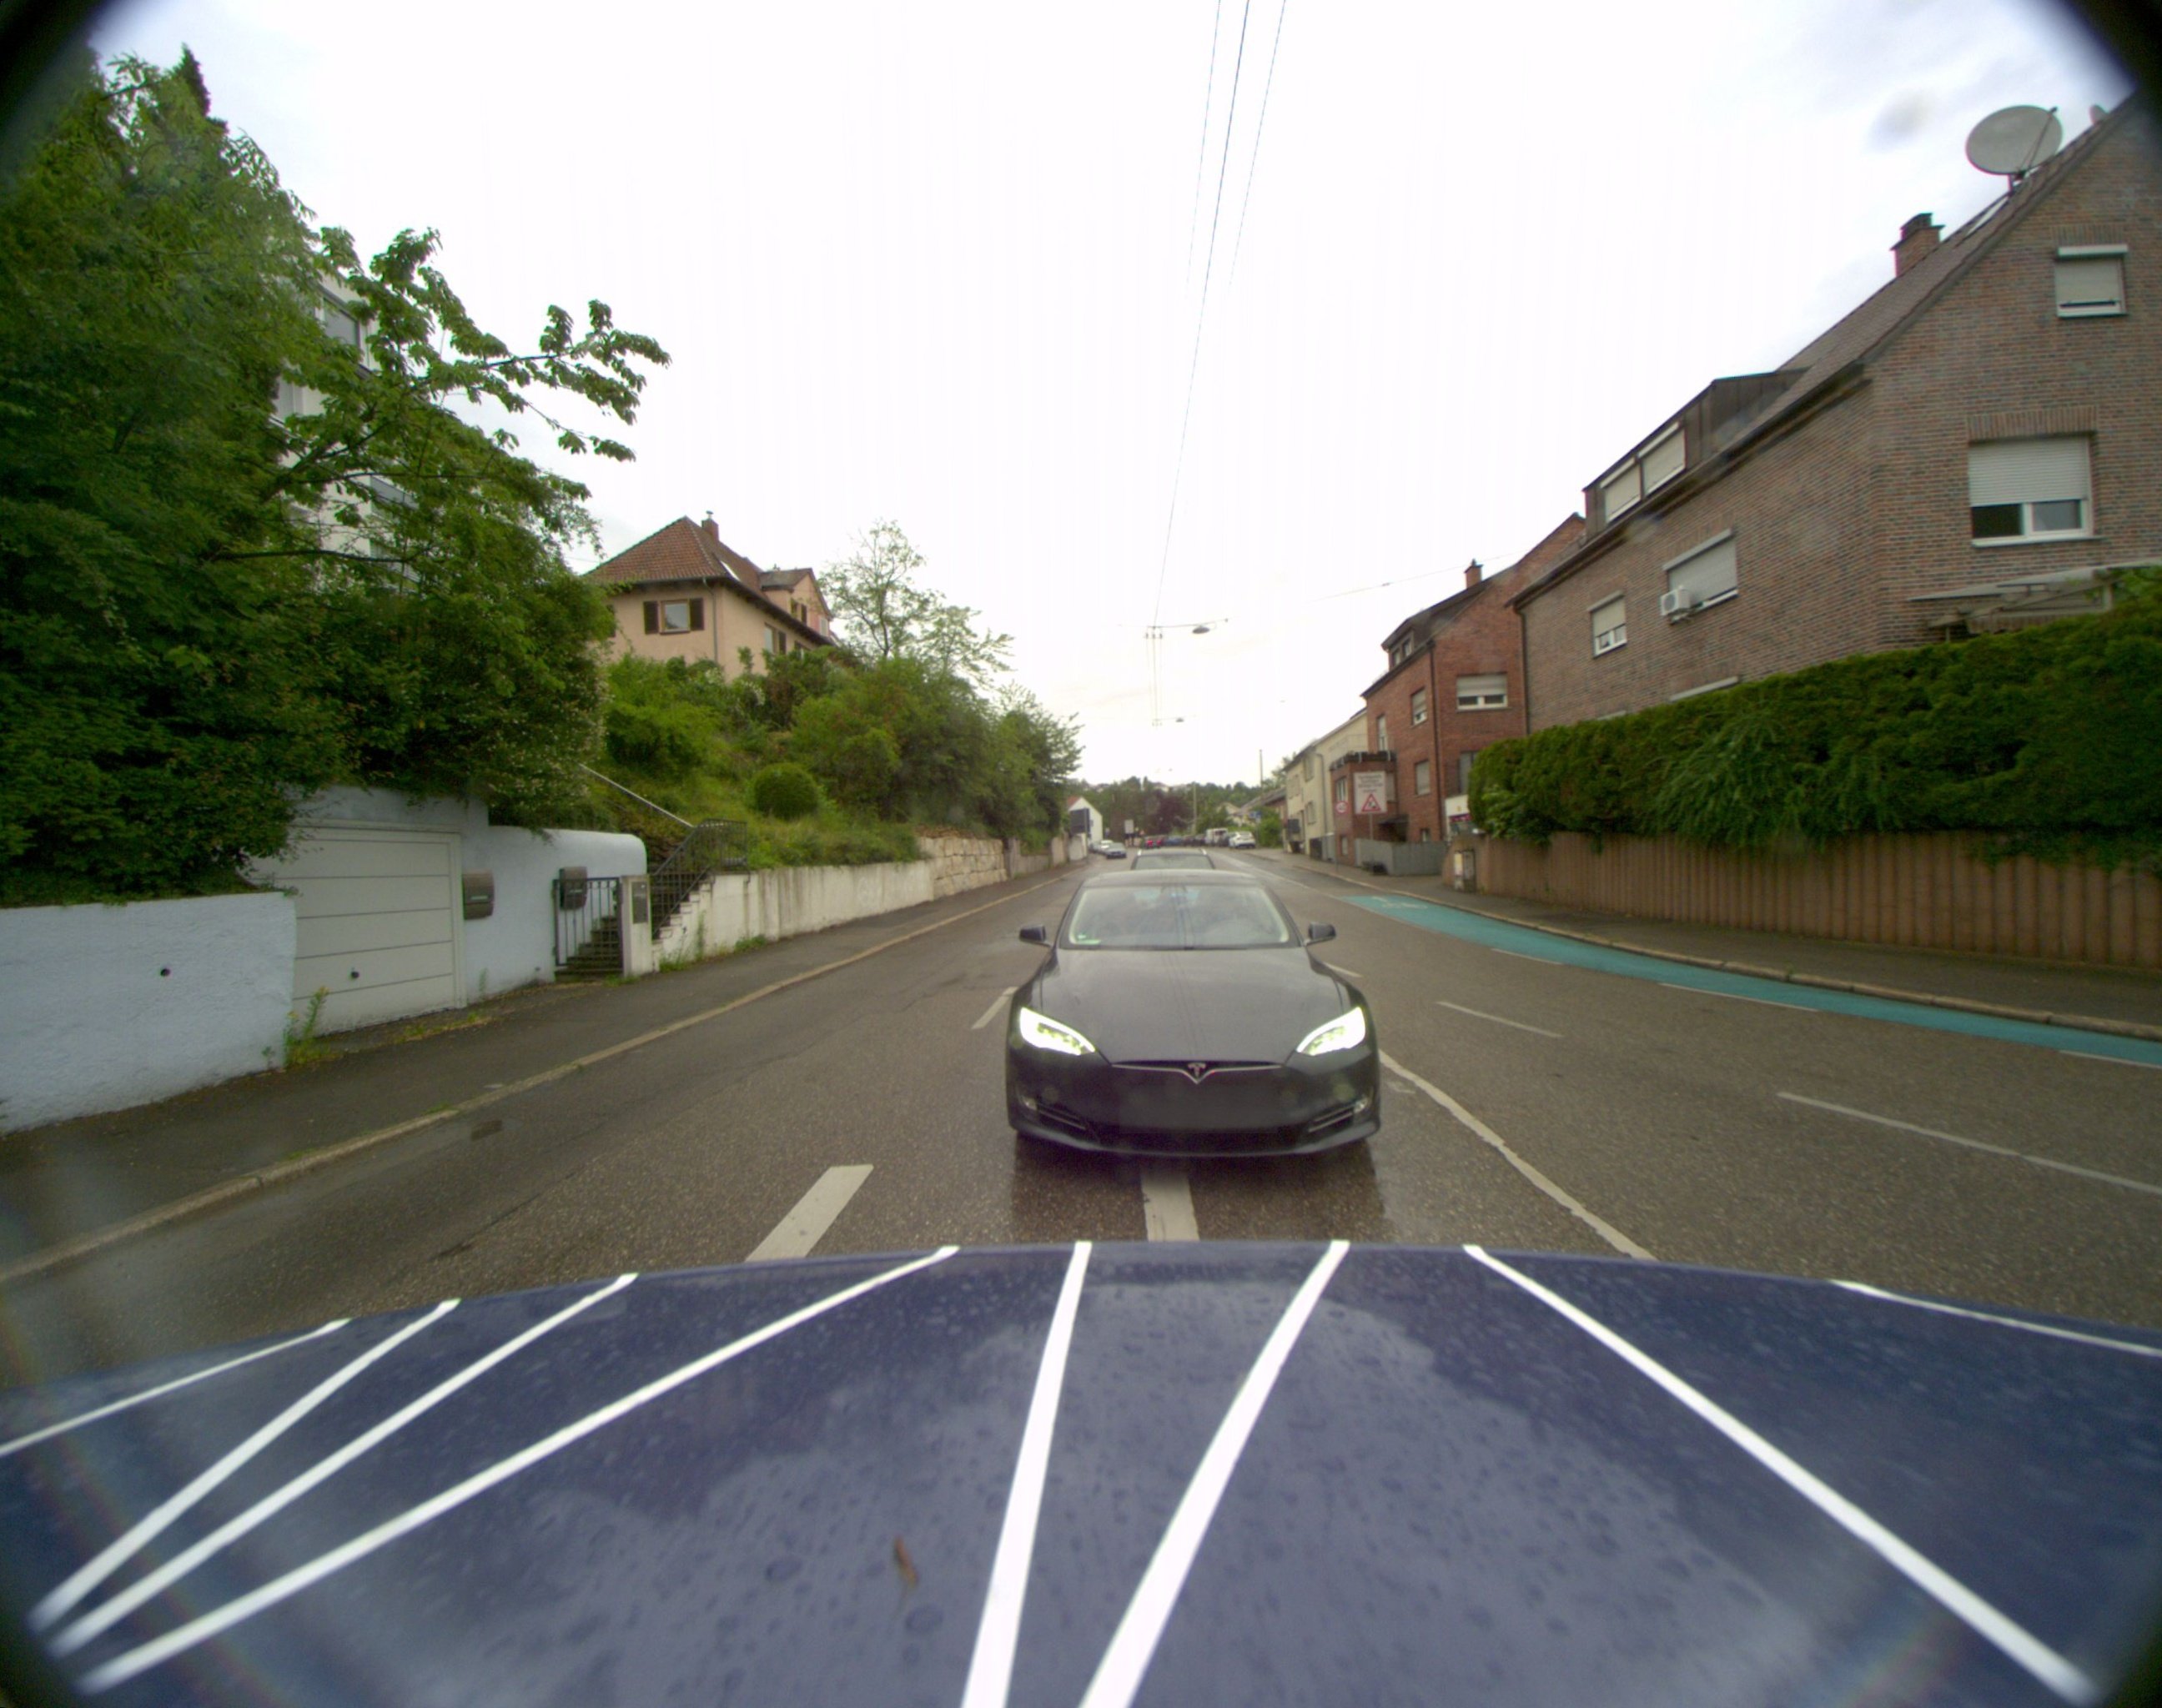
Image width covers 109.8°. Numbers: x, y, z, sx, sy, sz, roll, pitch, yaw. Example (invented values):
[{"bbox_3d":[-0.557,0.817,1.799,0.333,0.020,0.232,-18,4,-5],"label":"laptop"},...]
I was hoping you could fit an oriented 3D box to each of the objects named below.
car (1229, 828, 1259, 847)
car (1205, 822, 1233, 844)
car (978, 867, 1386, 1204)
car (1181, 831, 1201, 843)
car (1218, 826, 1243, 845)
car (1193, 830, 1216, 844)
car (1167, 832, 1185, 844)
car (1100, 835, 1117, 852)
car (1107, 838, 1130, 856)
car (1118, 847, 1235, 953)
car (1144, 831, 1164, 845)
[{"bbox_3d":[15.355,-1.556,71.959,1.946,1.557,4.263,-4,1,2],"label":"car"},{"bbox_3d":[15.612,-2.336,86.137,2.257,2.273,4.546,-4,1,0],"label":"car"},{"bbox_3d":[0.614,0.907,5.570,1.870,1.407,4.000,-2,1,4],"label":"car"},{"bbox_3d":[14.056,-2.151,97.441,1.654,1.388,3.859,-4,1,-4],"label":"car"},{"bbox_3d":[15.723,-1.907,80.107,1.814,1.793,4.263,-4,1,2],"label":"car"},{"bbox_3d":[14.873,-2.047,91.489,1.654,1.482,4.009,-4,1,-6],"label":"car"},{"bbox_3d":[12.796,-2.195,102.683,1.624,1.482,3.901,-4,1,-4],"label":"car"},{"bbox_3d":[3.186,-1.228,89.125,1.820,1.855,4.038,-2,2,-1],"label":"car"},{"bbox_3d":[3.651,-0.621,73.241,2.002,1.596,4.360,-2,-1,4],"label":"car"},{"bbox_3d":[1.639,0.712,13.857,1.789,1.580,3.784,-2,1,4],"label":"car"},{"bbox_3d":[9.272,-2.076,96.826,1.854,1.671,4.169,0,2,-6],"label":"car"}]
